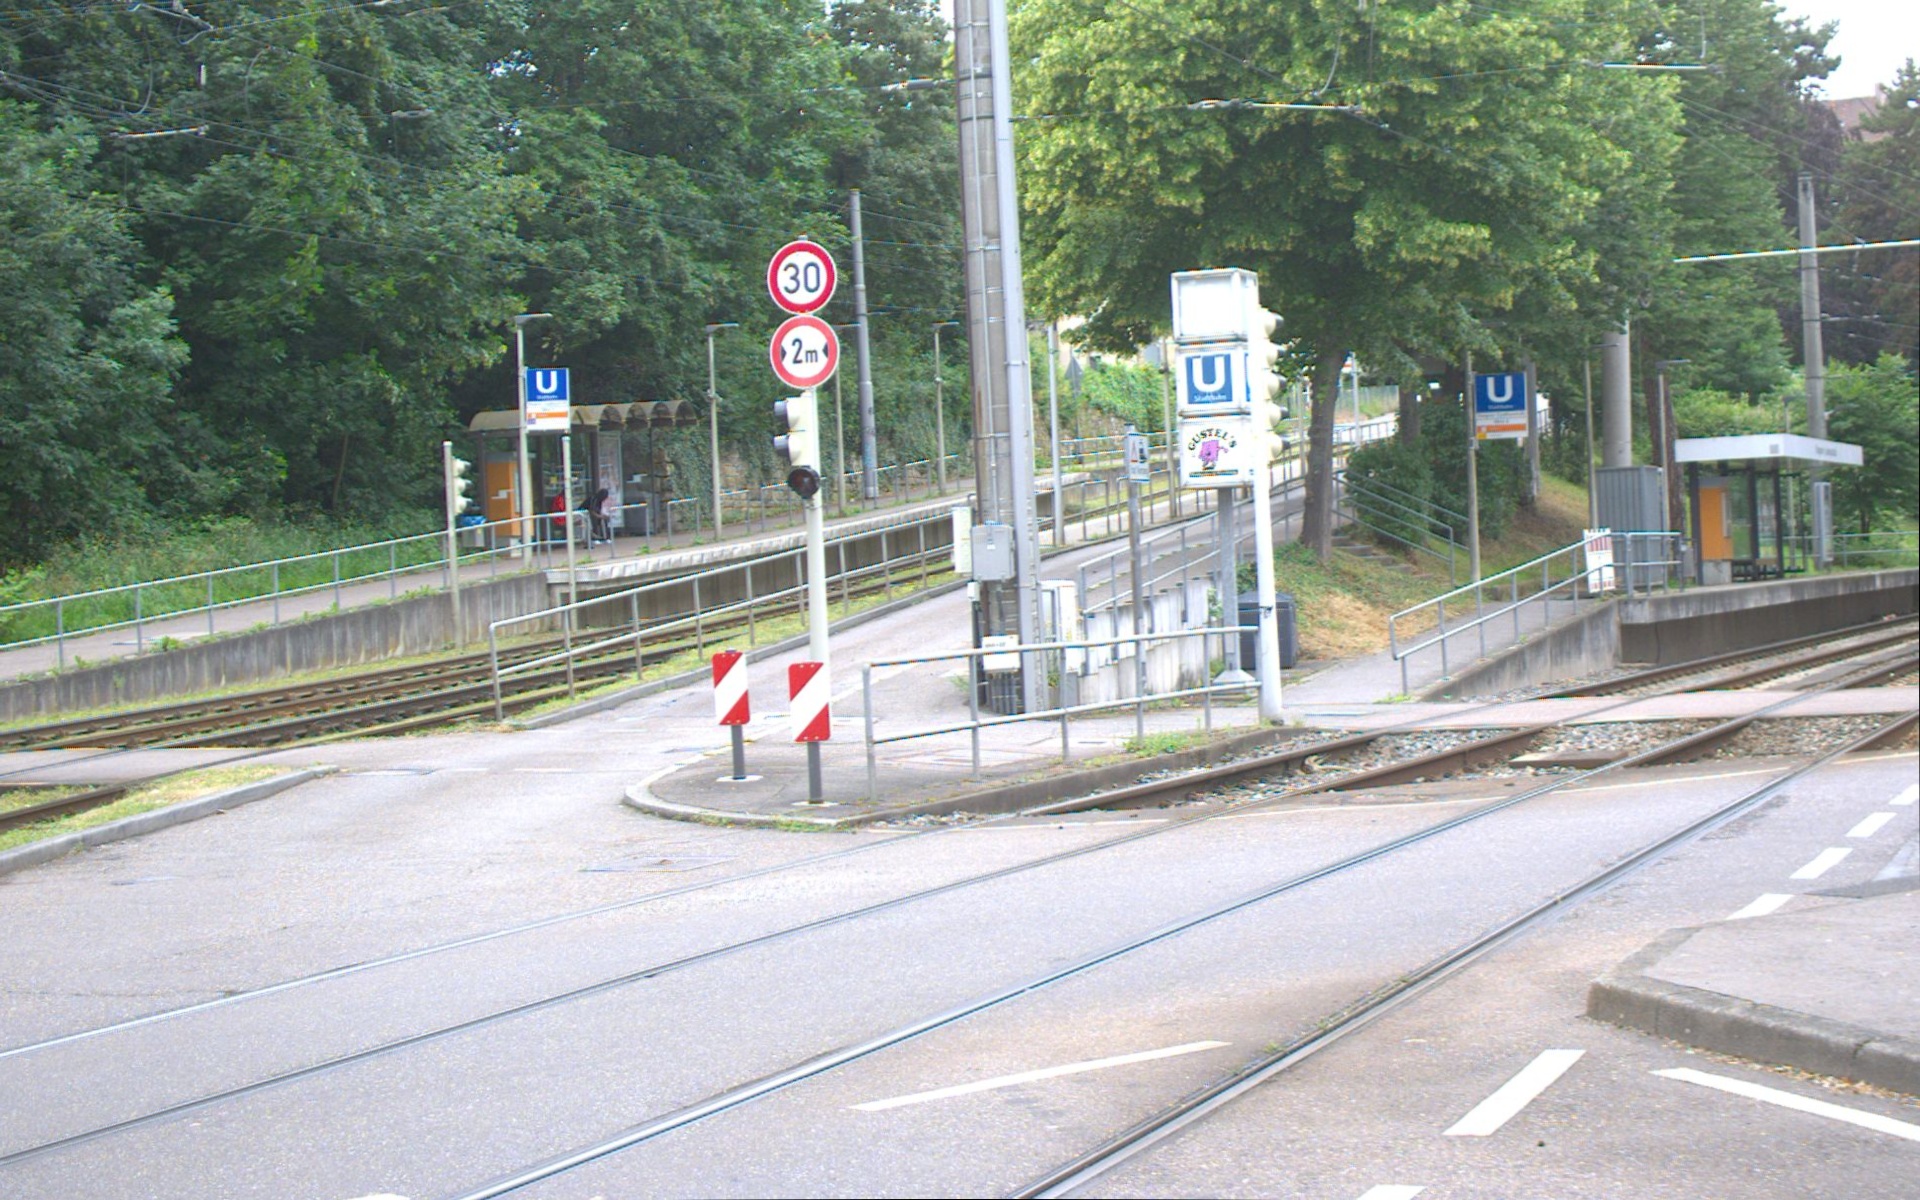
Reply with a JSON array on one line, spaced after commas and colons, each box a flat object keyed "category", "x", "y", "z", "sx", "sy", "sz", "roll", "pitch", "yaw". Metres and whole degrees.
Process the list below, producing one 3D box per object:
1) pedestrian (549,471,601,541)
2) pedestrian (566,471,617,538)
[{"category": "pedestrian", "x": -7.487, "y": -1.836, "z": 66.837, "sx": 0.772, "sy": 1.321, "sz": 0.787, "roll": 1, "pitch": 4, "yaw": 13}, {"category": "pedestrian", "x": -7.269, "y": -1.881, "z": 67.885, "sx": 0.772, "sy": 1.321, "sz": 0.786, "roll": 1, "pitch": 1, "yaw": 13}]
